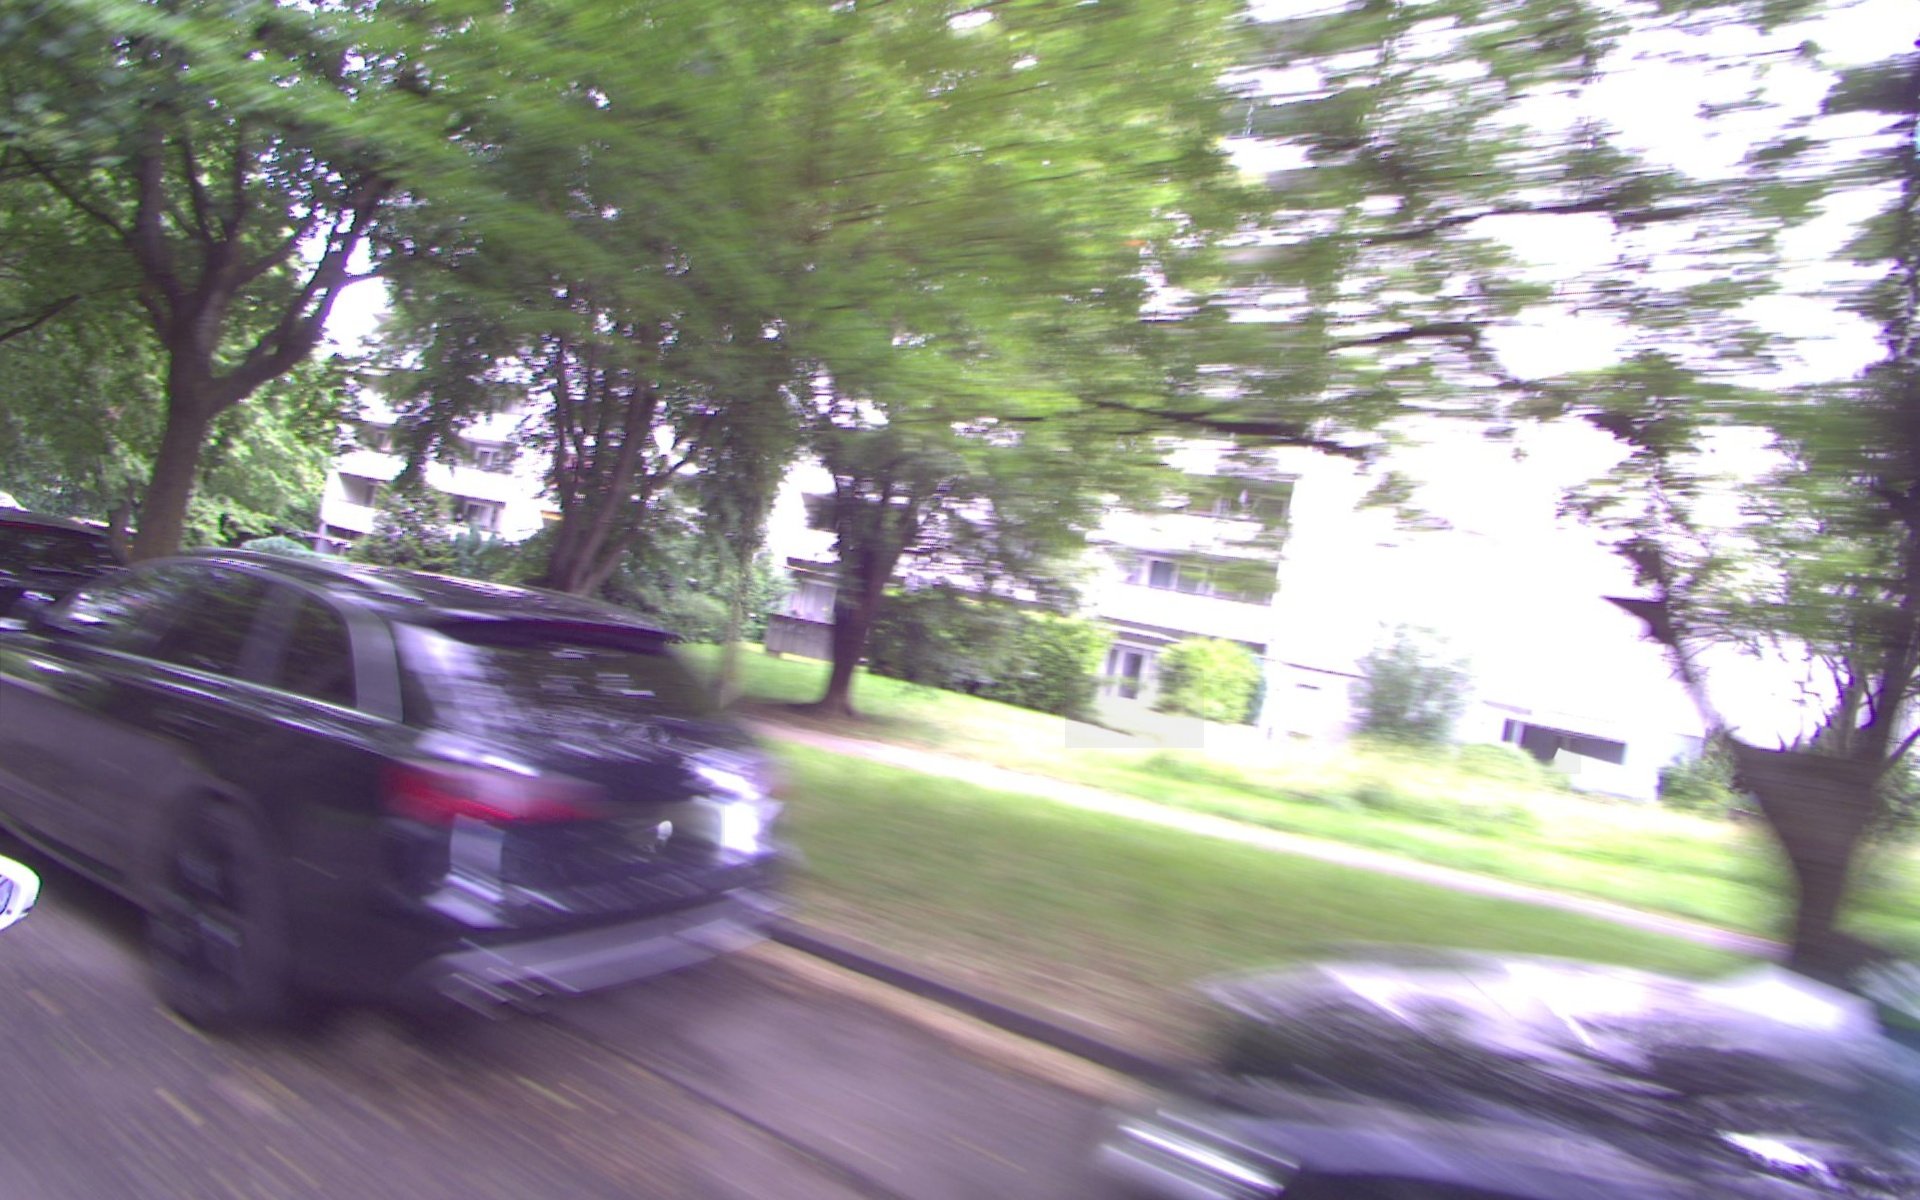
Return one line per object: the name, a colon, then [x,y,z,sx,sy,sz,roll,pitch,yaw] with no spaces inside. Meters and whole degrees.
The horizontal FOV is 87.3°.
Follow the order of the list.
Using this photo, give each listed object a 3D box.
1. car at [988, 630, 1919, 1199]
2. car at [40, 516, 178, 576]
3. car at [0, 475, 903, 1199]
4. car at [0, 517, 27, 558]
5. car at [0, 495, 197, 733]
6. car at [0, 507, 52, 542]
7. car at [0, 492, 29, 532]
car: [2.300,1.062,1.477,4.241,1.485,1.590,8,3,28]
car: [-39.720,-2.496,47.070,1.801,1.868,4.411,8,-3,29]
car: [-2.786,0.510,4.455,4.656,1.629,1.918,7,-3,33]
car: [-42.378,-2.935,42.737,1.802,1.587,3.526,8,-3,33]
car: [-7.609,-0.110,7.281,3.829,1.480,1.688,7,-3,27]
car: [-52.612,-4.329,54.753,1.768,1.515,4.222,8,-3,26]
car: [-55.172,-5.249,56.042,1.964,2.035,4.222,8,-3,26]
